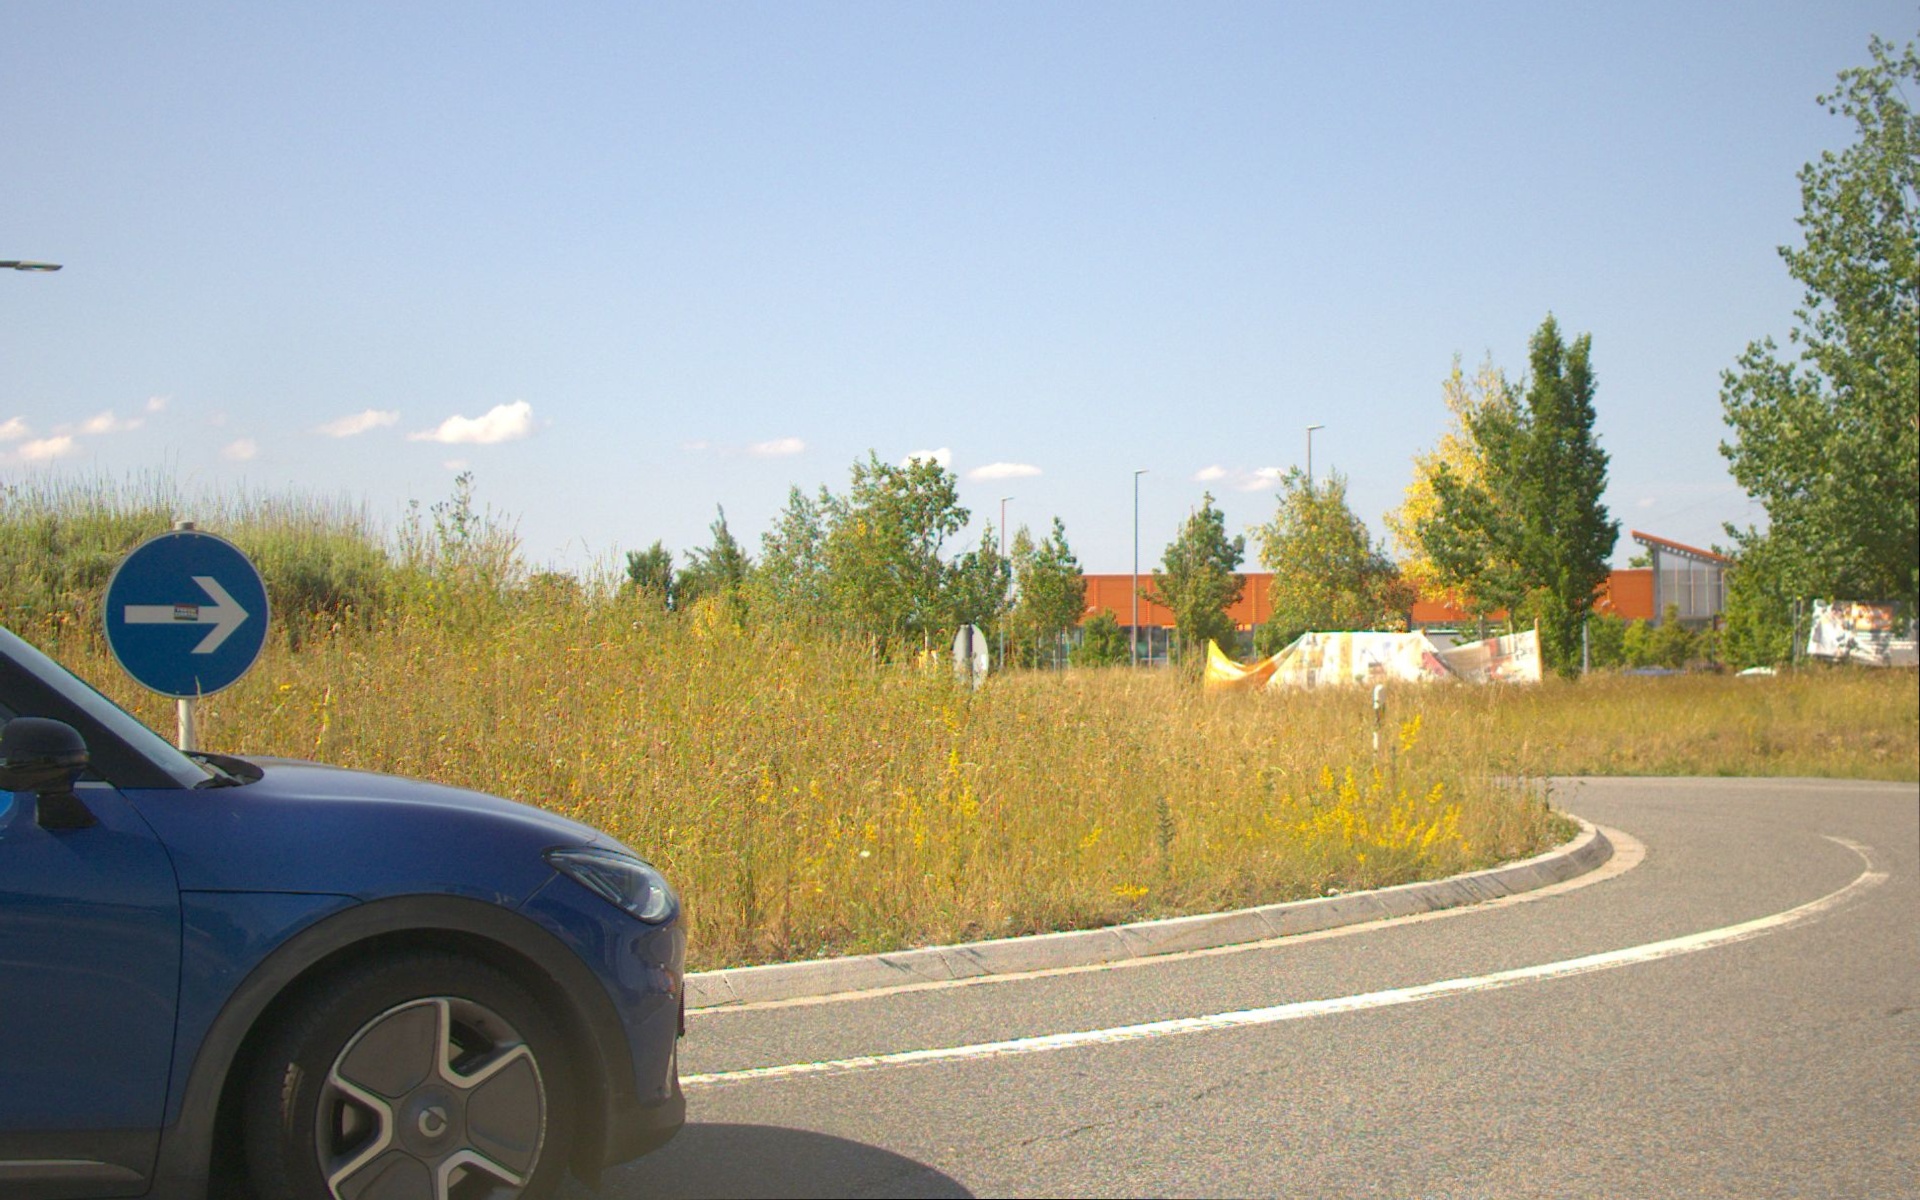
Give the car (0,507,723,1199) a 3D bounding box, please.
[{"bbox_3d":[-2.737,0.638,7.373,4.066,1.630,1.857,-1,0,-22],"label":"car"}]
